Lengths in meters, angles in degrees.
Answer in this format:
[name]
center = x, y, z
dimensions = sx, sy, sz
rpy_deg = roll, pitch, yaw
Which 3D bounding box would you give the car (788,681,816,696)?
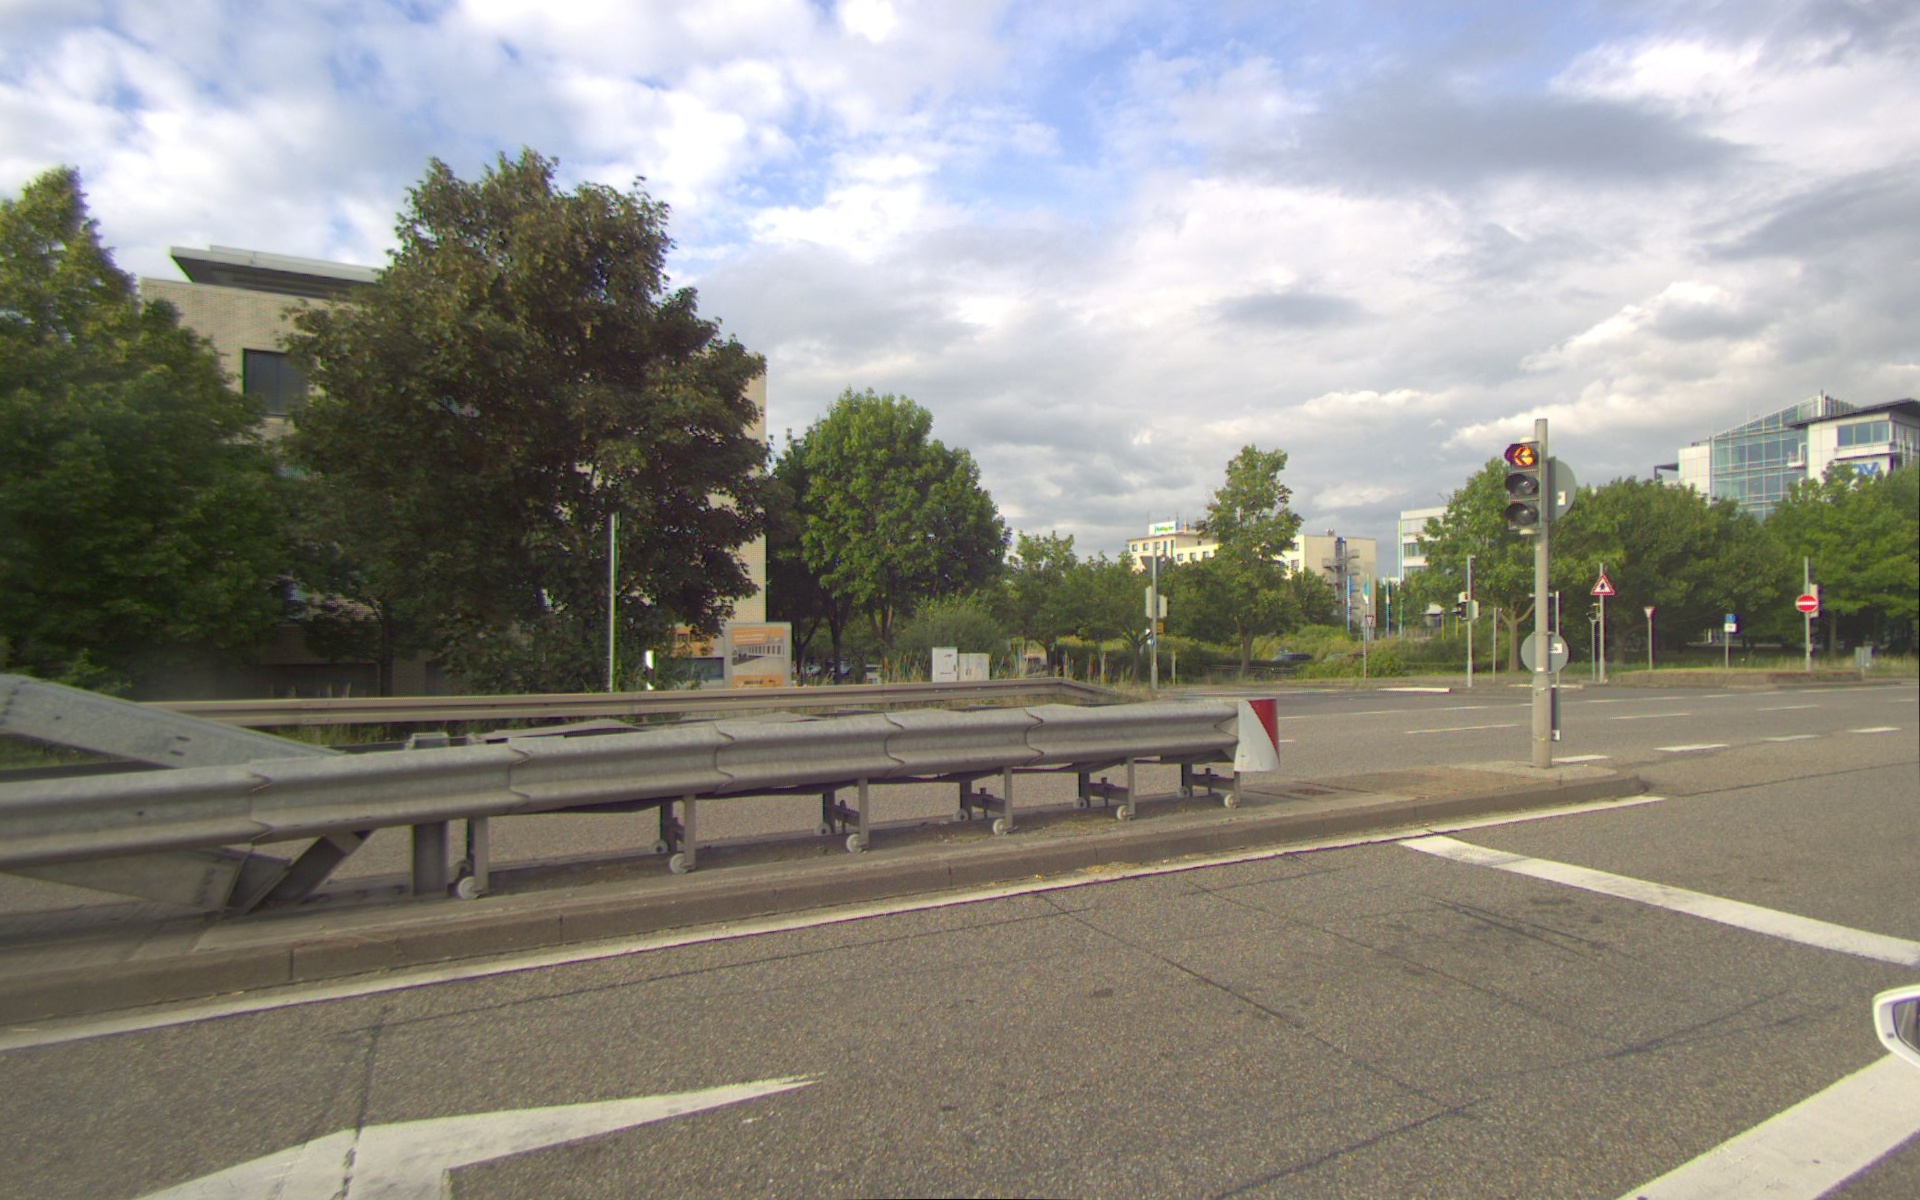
[car]
center = -15.178, 8.503, 96.218
dimensions = 1.566, 1.359, 3.727
rpy_deg = 1, -5, -27
